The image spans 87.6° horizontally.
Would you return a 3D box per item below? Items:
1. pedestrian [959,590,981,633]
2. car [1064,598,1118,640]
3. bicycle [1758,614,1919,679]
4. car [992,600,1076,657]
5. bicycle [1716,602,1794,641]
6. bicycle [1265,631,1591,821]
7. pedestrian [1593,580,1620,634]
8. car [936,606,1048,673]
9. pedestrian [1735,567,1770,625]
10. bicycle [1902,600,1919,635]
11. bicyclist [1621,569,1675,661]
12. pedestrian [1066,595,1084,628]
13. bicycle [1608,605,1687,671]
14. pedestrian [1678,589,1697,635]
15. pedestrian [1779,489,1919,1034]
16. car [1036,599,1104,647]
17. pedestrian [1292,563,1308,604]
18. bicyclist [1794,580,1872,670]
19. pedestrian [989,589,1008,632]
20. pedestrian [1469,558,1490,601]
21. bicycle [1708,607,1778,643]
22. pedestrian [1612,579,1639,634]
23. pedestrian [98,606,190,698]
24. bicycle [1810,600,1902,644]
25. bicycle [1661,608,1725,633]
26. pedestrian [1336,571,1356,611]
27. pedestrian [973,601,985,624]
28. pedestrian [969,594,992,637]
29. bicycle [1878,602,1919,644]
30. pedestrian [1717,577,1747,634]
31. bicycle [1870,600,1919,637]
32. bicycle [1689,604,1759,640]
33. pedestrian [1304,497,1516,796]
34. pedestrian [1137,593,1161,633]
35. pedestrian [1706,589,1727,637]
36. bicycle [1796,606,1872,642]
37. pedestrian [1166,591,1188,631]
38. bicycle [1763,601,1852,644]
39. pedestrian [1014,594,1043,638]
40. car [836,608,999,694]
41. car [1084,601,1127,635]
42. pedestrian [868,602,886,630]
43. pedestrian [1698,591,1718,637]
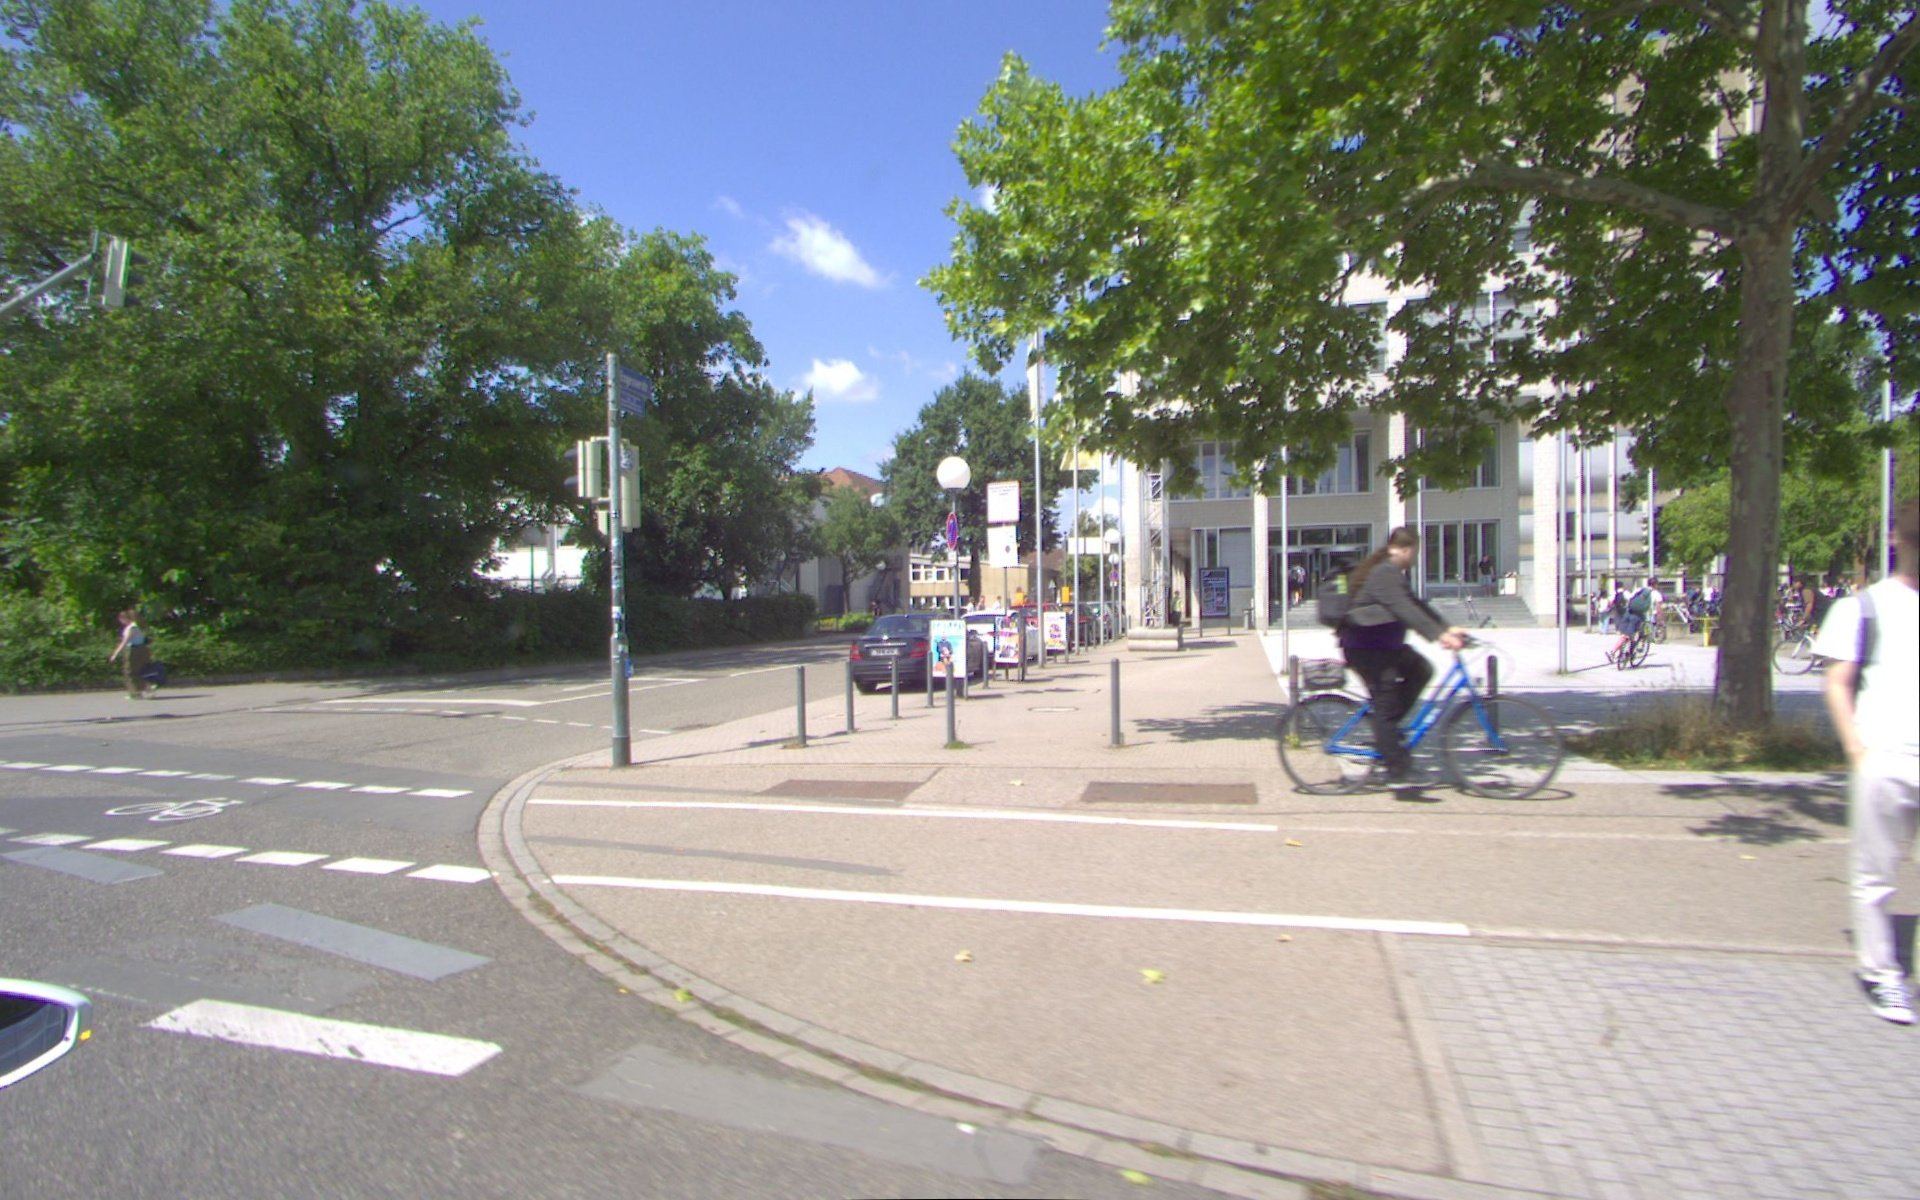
[{"bbox_3d":[0.468,0.513,45.855,0.776,1.951,0.589,0,1,38],"label":"pedestrian"},{"bbox_3d":[5.336,0.745,40.412,1.693,1.549,4.562,-2,-1,12],"label":"car"},{"bbox_3d":[15.987,0.841,18.192,0.891,1.092,2.143,-1,-2,-32],"label":"bicycle"},{"bbox_3d":[2.285,0.803,29.857,1.590,1.516,4.140,-3,-1,16],"label":"car"},{"bbox_3d":[23.072,0.638,29.109,0.593,1.113,1.766,0,-2,-15],"label":"bicycle"},{"bbox_3d":[3.050,0.800,6.722,1.858,1.087,0.815,-2,3,20],"label":"bicycle"},{"bbox_3d":[21.470,0.251,33.260,0.627,1.769,0.710,-2,-2,42],"label":"pedestrian"},{"bbox_3d":[0.899,0.919,24.784,1.693,1.418,4.433,-3,-1,16],"label":"car"},{"bbox_3d":[31.478,-0.143,39.787,0.622,2.257,0.854,0,-1,-11],"label":"pedestrian"},{"bbox_3d":[30.200,0.525,30.759,0.593,1.113,1.766,0,-2,-15],"label":"bicycle"},{"bbox_3d":[14.215,0.321,20.687,0.751,1.869,0.659,0,-2,-33],"label":"bicyclist"},{"bbox_3d":[6.260,0.620,54.413,0.613,1.740,1.038,-1,0,-16],"label":"pedestrian"},{"bbox_3d":[14.180,0.782,20.639,1.849,1.313,0.659,1,-2,-33],"label":"bicycle"},{"bbox_3d":[36.115,0.602,49.706,0.707,2.257,0.630,-1,-2,34],"label":"pedestrian"},{"bbox_3d":[3.422,0.535,3.557,0.600,1.825,0.594,0,3,20],"label":"pedestrian"},{"bbox_3d":[3.892,0.779,34.850,1.693,1.549,3.995,-1,0,16],"label":"car"},{"bbox_3d":[14.722,-0.707,43.349,0.623,1.687,0.715,-1,-1,18],"label":"pedestrian"},{"bbox_3d":[15.889,0.452,18.224,0.654,1.585,0.927,-1,1,-33],"label":"bicyclist"},{"bbox_3d":[1.804,0.493,46.503,0.712,1.951,0.750,0,1,14],"label":"pedestrian"},{"bbox_3d":[22.895,-0.883,44.134,0.707,1.821,0.715,-1,-1,18],"label":"pedestrian"},{"bbox_3d":[25.099,0.816,32.126,0.593,1.113,1.766,0,-2,-15],"label":"bicycle"},{"bbox_3d":[21.896,0.234,32.929,0.627,1.769,0.710,-2,-2,42],"label":"pedestrian"},{"bbox_3d":[-15.181,0.958,18.656,1.001,1.648,0.856,0,2,-9],"label":"pedestrian"},{"bbox_3d":[23.545,0.601,26.348,0.593,1.113,1.766,0,-2,-15],"label":"bicycle"},{"bbox_3d":[24.645,0.698,33.677,1.733,0.803,0.520,-1,0,3],"label":"bicycle"},{"bbox_3d":[15.948,-0.380,41.422,0.707,1.605,0.715,-1,-1,18],"label":"pedestrian"},{"bbox_3d":[1.406,0.936,73.922,0.702,1.648,0.882,0,0,14],"label":"pedestrian"},{"bbox_3d":[0.939,0.716,46.378,0.775,1.951,0.729,0,1,38],"label":"pedestrian"},{"bbox_3d":[25.614,0.611,26.589,0.593,1.113,1.766,0,-2,-15],"label":"bicycle"},{"bbox_3d":[31.299,0.232,40.603,0.623,2.257,0.716,0,-1,-14],"label":"pedestrian"},{"bbox_3d":[28.979,0.582,30.545,0.593,1.113,1.766,0,-2,-15],"label":"bicycle"},{"bbox_3d":[24.399,0.722,32.004,0.593,1.113,1.766,0,-2,-15],"label":"bicycle"},{"bbox_3d":[2.964,0.292,6.717,1.155,1.845,0.854,-3,4,19],"label":"pedestrian"},{"bbox_3d":[7.912,0.551,41.923,0.680,1.661,0.736,-1,0,-22],"label":"pedestrian"},{"bbox_3d":[35.849,0.622,47.453,0.707,2.257,0.630,-1,-2,34],"label":"pedestrian"},{"bbox_3d":[27.602,0.778,31.654,0.593,1.113,1.766,0,-2,-15],"label":"bicycle"},{"bbox_3d":[9.756,0.489,45.029,0.904,1.763,1.000,-1,0,16],"label":"pedestrian"},{"bbox_3d":[22.512,0.611,26.638,0.593,1.113,1.766,0,-2,-15],"label":"bicycle"},{"bbox_3d":[3.068,0.713,44.823,1.078,1.945,1.019,0,0,17],"label":"pedestrian"},{"bbox_3d":[-0.657,0.909,19.672,1.693,1.418,4.942,-3,-1,16],"label":"car"},{"bbox_3d":[6.856,0.812,46.885,1.589,1.516,4.002,-1,0,14],"label":"car"},{"bbox_3d":[-4.624,0.890,55.720,0.838,1.540,0.520,-1,-1,19],"label":"pedestrian"},{"bbox_3d":[36.825,0.686,49.283,0.707,2.257,0.630,-1,-2,34],"label":"pedestrian"}]
